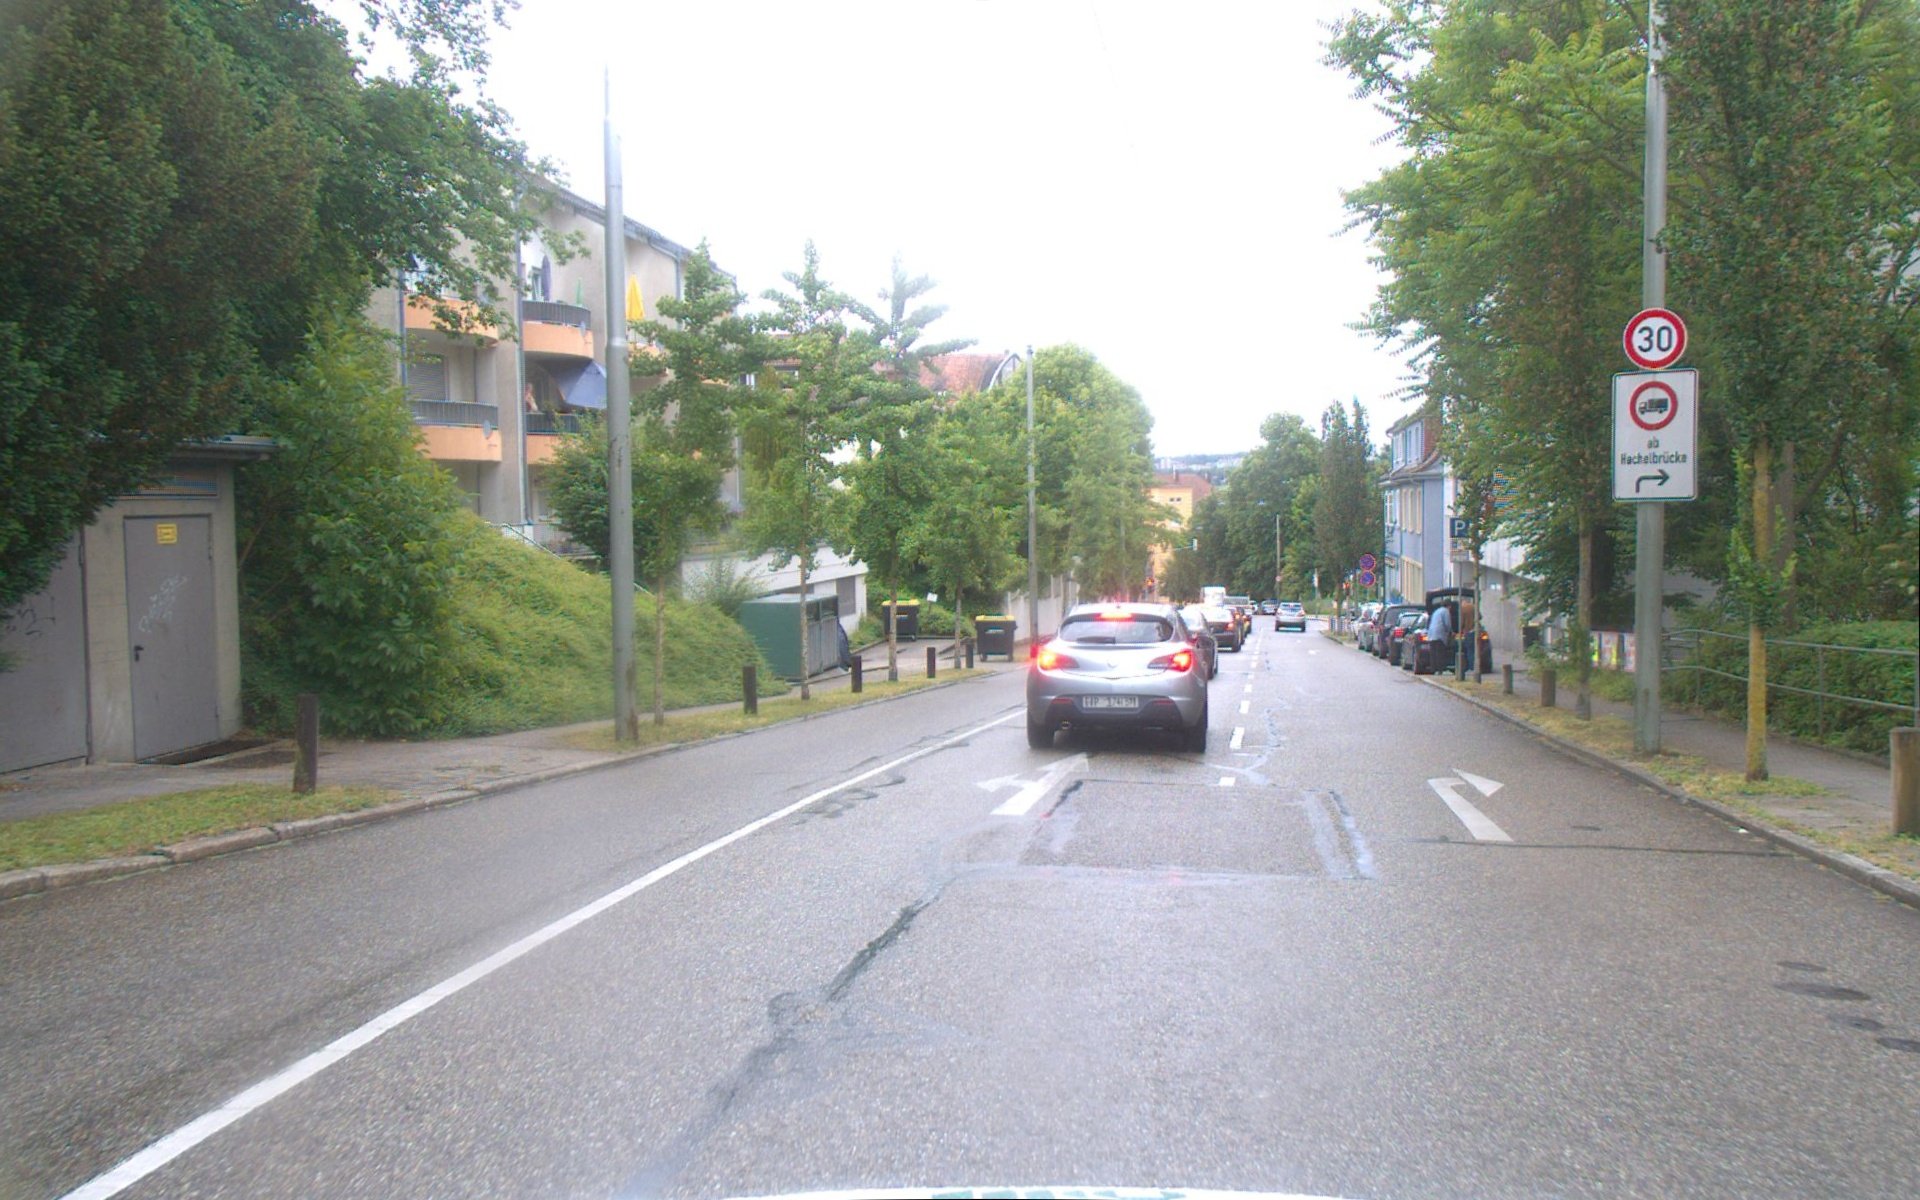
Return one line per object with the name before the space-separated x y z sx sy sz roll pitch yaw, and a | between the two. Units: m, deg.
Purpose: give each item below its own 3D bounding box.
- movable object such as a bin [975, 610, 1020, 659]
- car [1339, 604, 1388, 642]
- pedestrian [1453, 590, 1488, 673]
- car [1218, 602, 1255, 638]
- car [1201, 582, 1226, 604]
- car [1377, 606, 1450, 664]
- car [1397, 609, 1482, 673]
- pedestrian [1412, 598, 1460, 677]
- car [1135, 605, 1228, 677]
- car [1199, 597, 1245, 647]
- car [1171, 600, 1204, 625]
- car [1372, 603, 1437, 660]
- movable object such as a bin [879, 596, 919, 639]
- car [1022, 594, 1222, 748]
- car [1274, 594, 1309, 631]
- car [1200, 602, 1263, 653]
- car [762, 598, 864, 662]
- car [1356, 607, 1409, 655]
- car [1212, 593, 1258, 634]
movable object such as a bin | 1.116 1.027 48.980 1.245 1.411 0.489 1 0 8
car | 17.679 0.989 72.596 1.866 1.598 4.004 -1 0 11
pedestrian | 11.669 0.715 37.813 0.672 1.868 0.666 -2 0 17
car | 13.809 1.001 82.750 1.717 1.679 4.003 3 0 9
car | 22.260 -0.619 145.125 1.951 1.815 4.004 3 1 11
car | 12.553 0.944 45.960 1.645 1.489 4.004 -1 0 11
car | 11.584 0.976 40.125 1.471 1.460 4.003 -1 -1 9
pedestrian | 10.945 0.861 38.036 0.722 1.754 0.762 -2 0 -15
car | 4.620 0.826 34.982 1.760 1.346 4.003 1 1 5
car | 10.605 0.860 67.014 1.731 1.812 3.980 3 1 9
car | 14.595 0.802 106.085 1.810 1.495 4.091 -3 -1 11
car | 13.516 0.928 50.430 1.649 1.598 4.004 -1 0 11
movable object such as a bin | -2.035 0.588 55.324 1.245 1.411 0.489 1 0 8
car | 1.765 0.692 17.797 1.904 1.457 3.887 0 0 6
car | 19.966 0.706 99.706 1.951 2.071 4.739 3 1 11
car | 9.019 0.876 55.012 1.919 1.497 3.954 3 1 9
car | -3.730 0.750 42.554 1.704 1.482 3.887 -4 -1 8
car | 14.716 1.057 57.773 1.550 1.519 4.294 -1 0 11
car | 15.261 0.731 91.706 2.284 2.071 4.739 3 1 11
